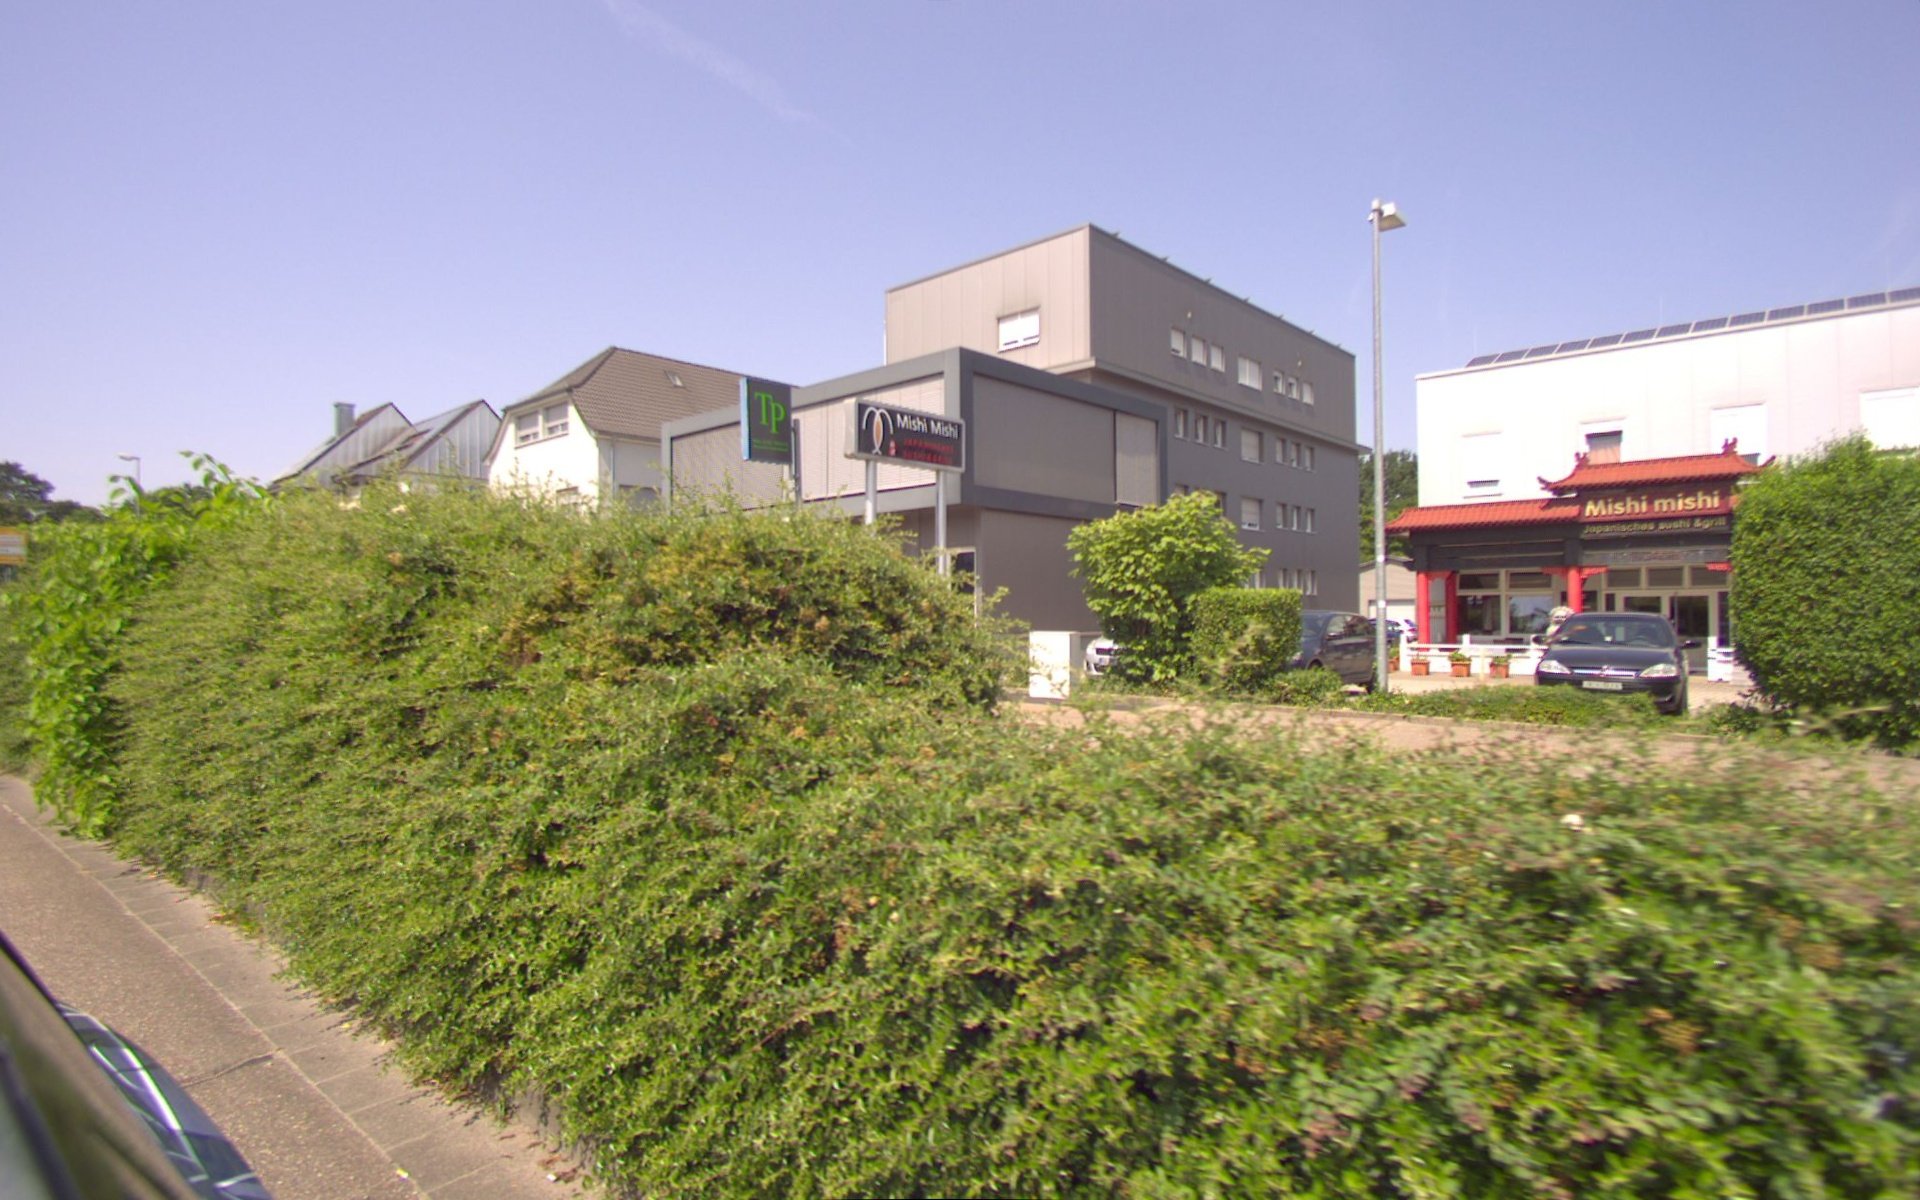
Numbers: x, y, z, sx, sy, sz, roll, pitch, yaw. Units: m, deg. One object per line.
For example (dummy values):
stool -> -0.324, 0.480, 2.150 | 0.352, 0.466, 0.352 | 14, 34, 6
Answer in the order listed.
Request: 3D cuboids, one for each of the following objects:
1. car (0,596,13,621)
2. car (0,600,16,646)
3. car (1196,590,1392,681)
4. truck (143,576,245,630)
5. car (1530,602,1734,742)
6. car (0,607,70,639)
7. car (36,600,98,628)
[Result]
car -> -77.571, 0.615, 79.560 | 4.236, 1.916, 1.835 | 2, 0, -30
car -> -38.792, 0.956, 39.784 | 4.333, 1.641, 1.763 | -5, -5, 38
car -> 5.819, 0.642, 17.390 | 1.669, 1.382, 3.952 | -3, -4, 44
truck -> -54.475, 0.120, 72.214 | 2.238, 3.442, 7.047 | -1, 3, -4
car -> 9.080, 0.834, 13.572 | 1.777, 1.541, 3.443 | 1, 1, 42
car -> -46.820, 1.147, 51.094 | 4.346, 1.363, 1.790 | 0, 5, 36
car -> -53.151, 0.792, 60.227 | 4.188, 1.578, 1.881 | 0, 0, 35
